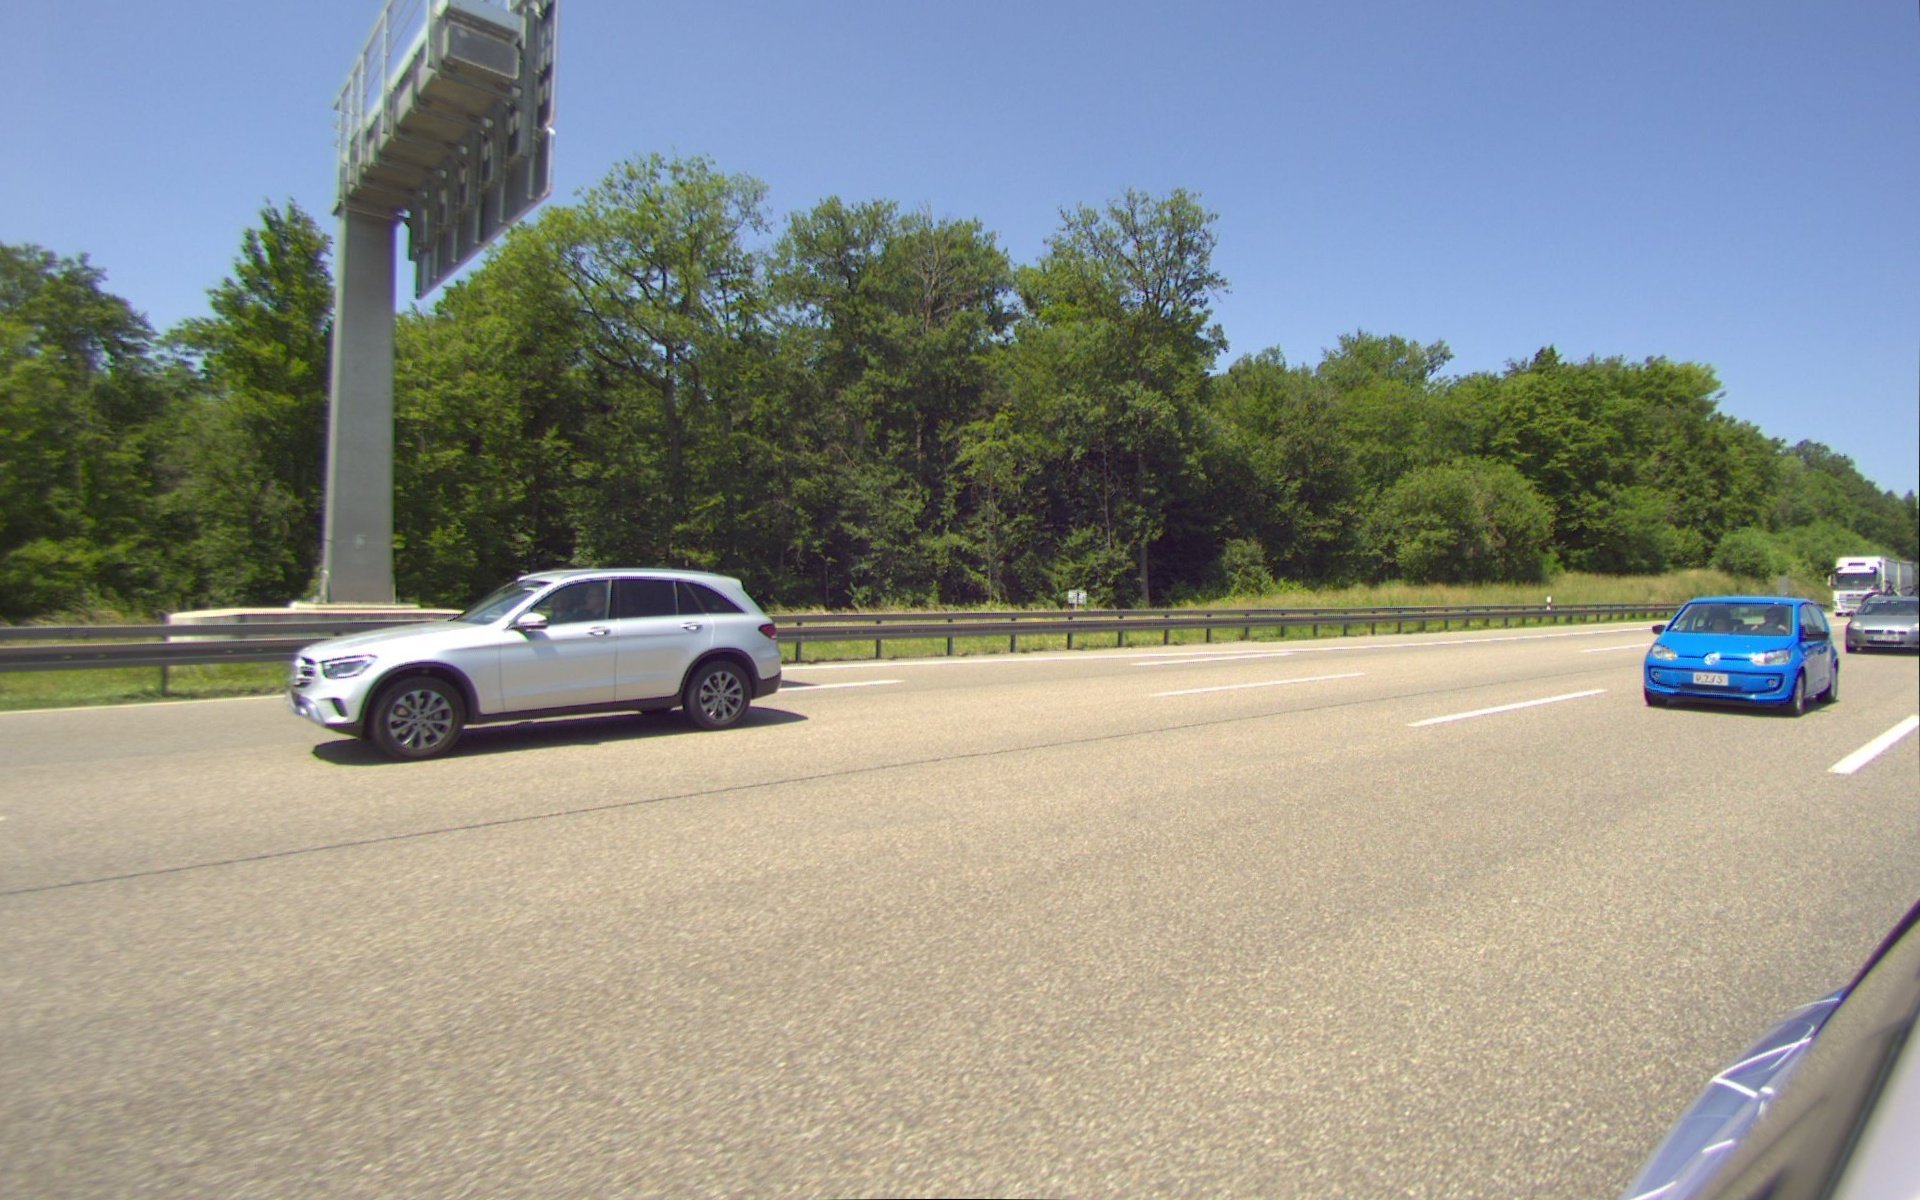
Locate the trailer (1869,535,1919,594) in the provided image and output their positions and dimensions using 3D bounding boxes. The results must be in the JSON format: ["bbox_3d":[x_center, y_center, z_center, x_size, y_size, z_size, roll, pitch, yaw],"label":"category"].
[{"bbox_3d":[71.177,-2.572,76.573,8.235,4.122,2.583,1,-1,-41],"label":"trailer"}]

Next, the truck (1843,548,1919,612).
[{"bbox_3d":[64.987,-1.304,71.273,10.775,4.214,2.727,1,-1,-41],"label":"truck"}]

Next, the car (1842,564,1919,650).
[{"bbox_3d":[24.566,0.161,26.197,4.700,2.079,1.965,0,0,-41],"label":"car"}]

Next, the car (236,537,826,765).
[{"bbox_3d":[-4.011,0.410,10.163,5.147,1.753,1.804,1,-1,-41],"label":"car"}]

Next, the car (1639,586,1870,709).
[{"bbox_3d":[10.930,0.540,13.836,3.930,1.428,1.741,0,1,-41],"label":"car"}]
